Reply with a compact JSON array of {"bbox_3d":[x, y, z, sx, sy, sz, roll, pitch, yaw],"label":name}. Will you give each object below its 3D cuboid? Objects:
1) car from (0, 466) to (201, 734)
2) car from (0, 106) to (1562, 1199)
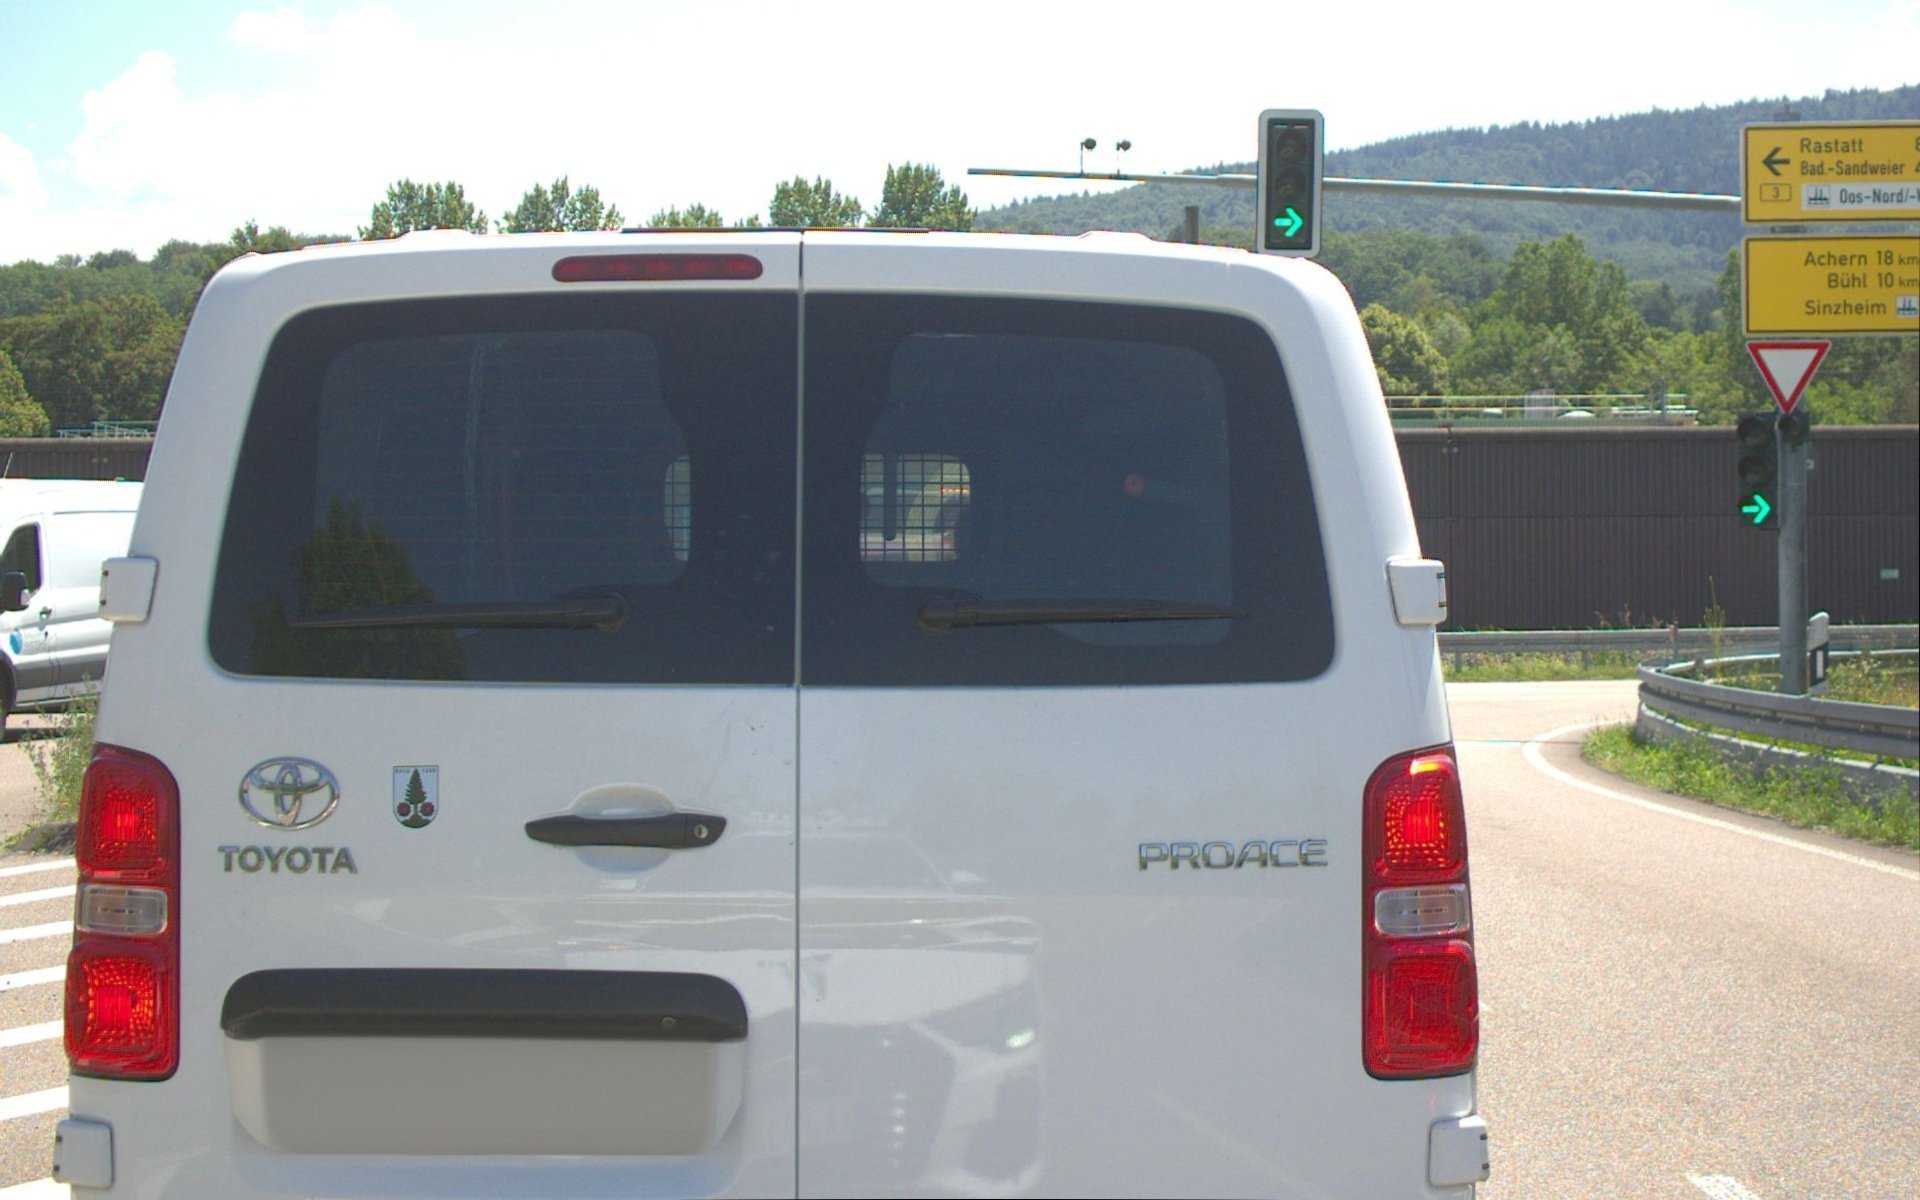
[{"bbox_3d":[-9.315,-0.004,32.556,1.994,2.408,5.587,-2,1,11],"label":"car"},{"bbox_3d":[-0.249,0.428,5.912,1.814,2.011,4.000,0,1,-1],"label":"car"}]
